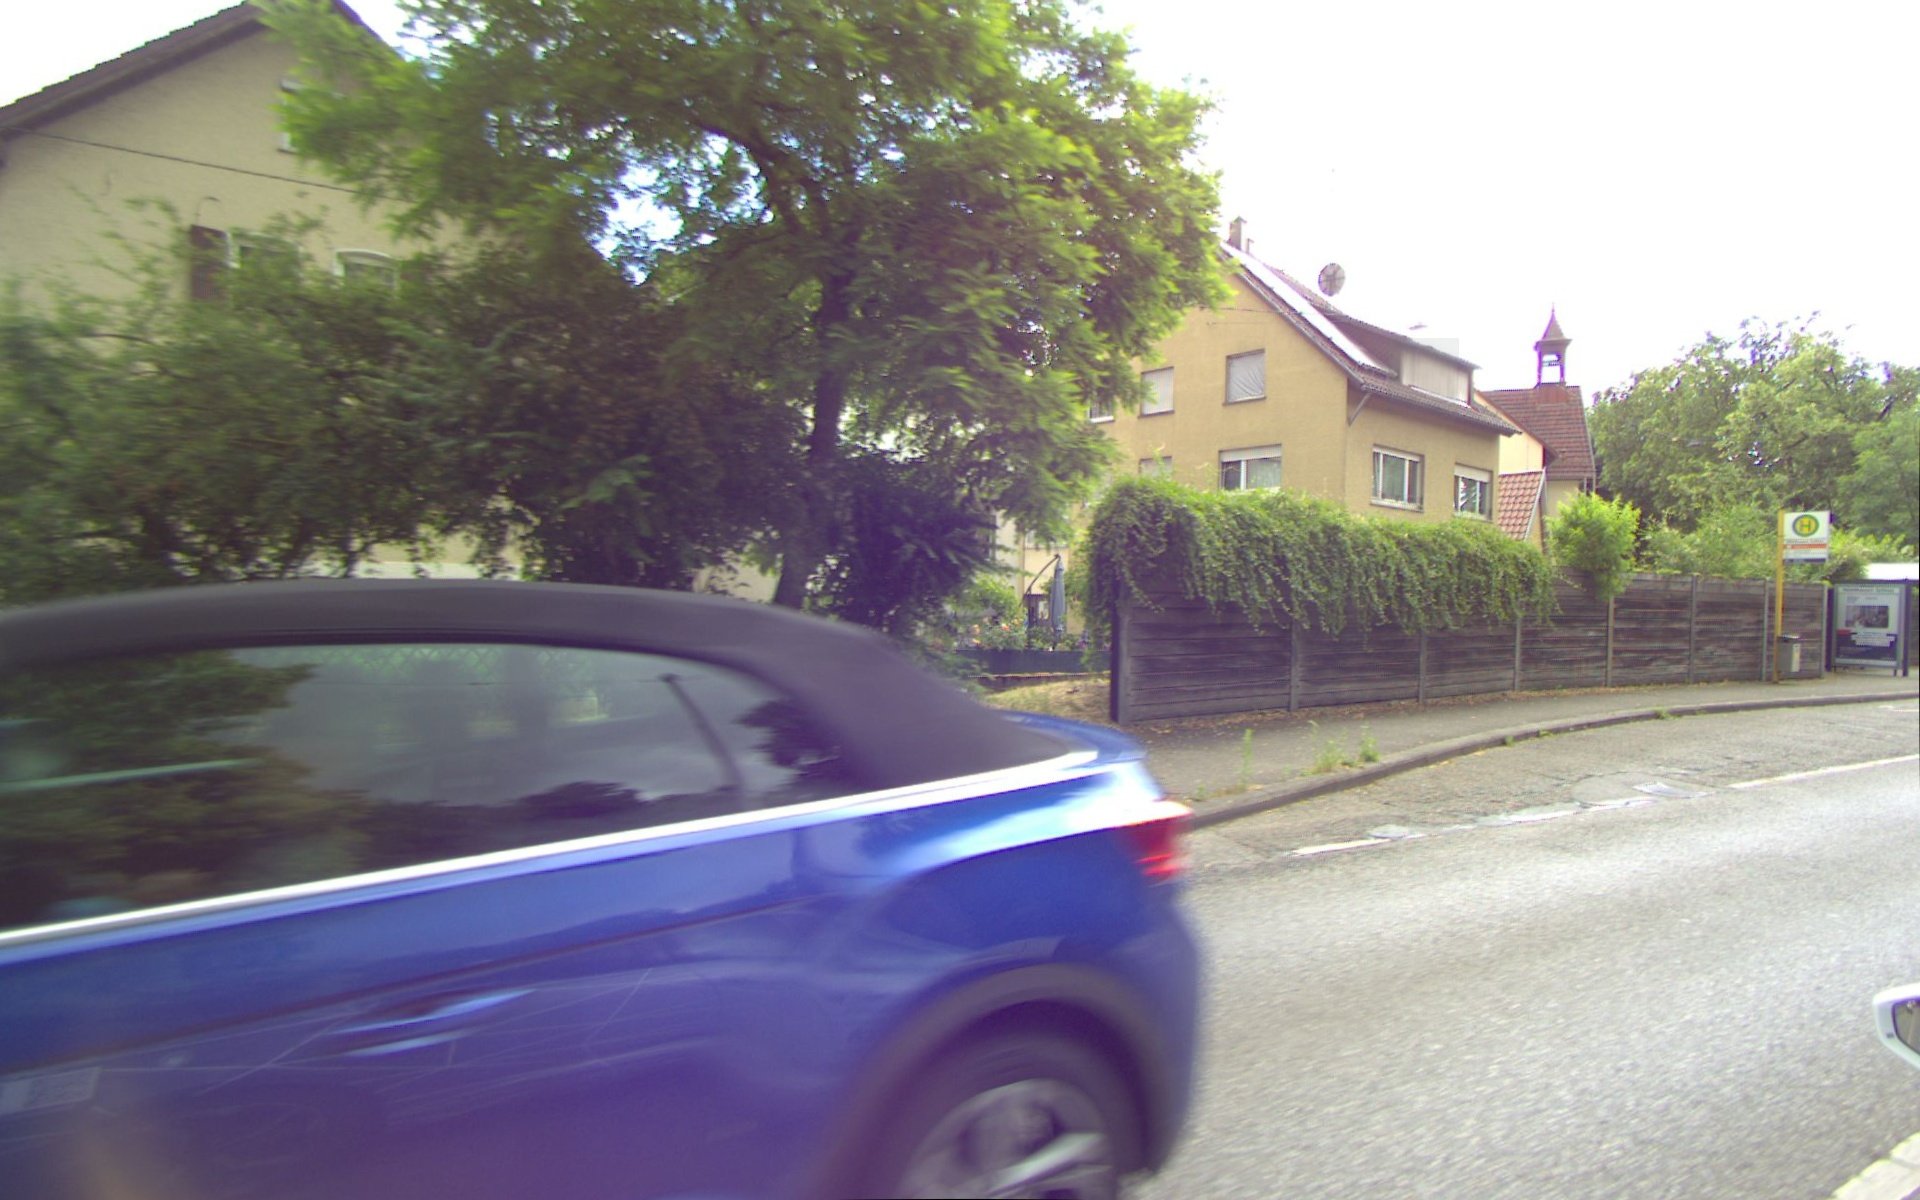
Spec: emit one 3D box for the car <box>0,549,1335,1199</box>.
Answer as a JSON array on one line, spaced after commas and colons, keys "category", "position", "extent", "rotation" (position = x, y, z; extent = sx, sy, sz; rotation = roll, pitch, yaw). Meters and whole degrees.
[{"category": "car", "position": [-1.283, 0.692, 1.993], "extent": [4.053, 1.488, 1.707], "rotation": [1, 0, -32]}]
